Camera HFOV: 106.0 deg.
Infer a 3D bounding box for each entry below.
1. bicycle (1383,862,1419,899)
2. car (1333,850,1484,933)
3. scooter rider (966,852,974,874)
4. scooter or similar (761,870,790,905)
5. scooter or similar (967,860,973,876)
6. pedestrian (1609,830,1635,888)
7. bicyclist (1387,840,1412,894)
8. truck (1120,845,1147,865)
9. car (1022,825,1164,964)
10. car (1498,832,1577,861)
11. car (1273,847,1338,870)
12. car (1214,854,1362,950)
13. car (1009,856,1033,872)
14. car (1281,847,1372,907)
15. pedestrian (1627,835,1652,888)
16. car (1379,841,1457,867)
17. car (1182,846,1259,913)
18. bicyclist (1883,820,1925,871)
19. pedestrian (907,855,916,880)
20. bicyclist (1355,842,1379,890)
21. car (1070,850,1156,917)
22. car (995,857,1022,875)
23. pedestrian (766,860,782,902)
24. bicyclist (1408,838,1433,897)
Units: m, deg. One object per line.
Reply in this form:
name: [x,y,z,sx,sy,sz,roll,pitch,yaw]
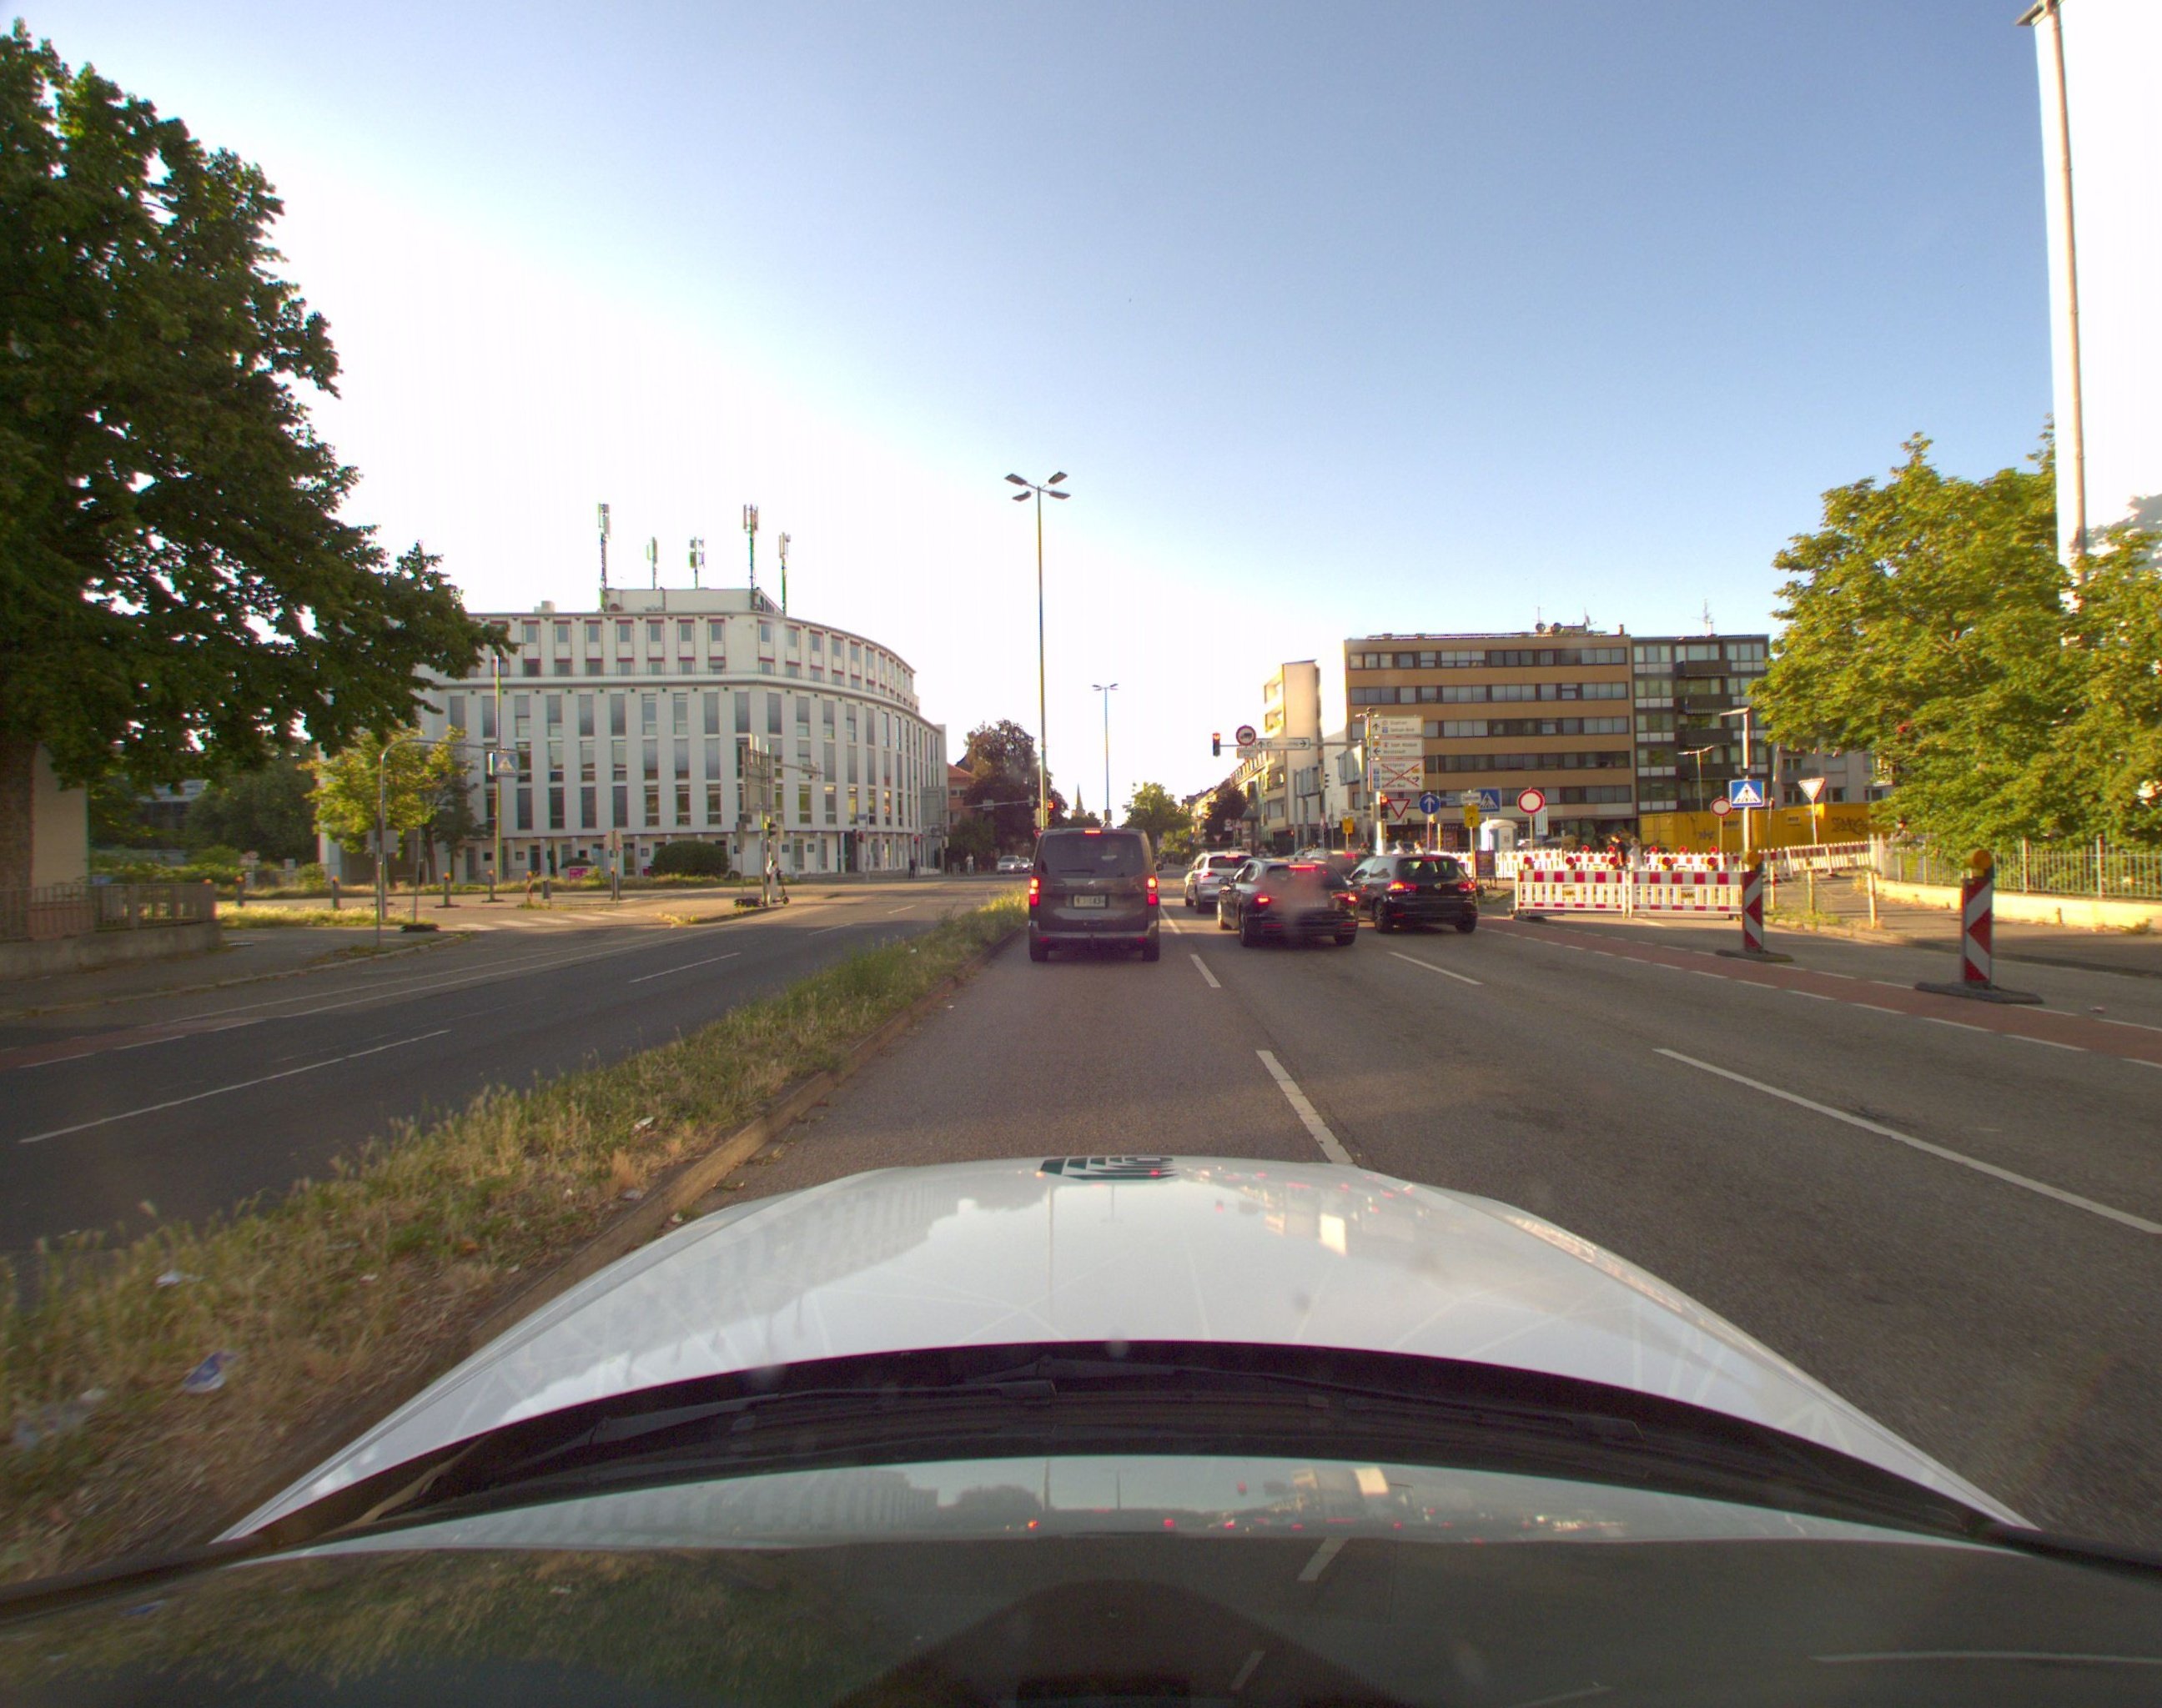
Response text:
bicycle: [9.255,0.753,23.593,0.335,1.008,1.857,-2,0,2]
car: [6.317,0.649,16.146,1.627,1.449,3.747,0,0,2]
scooter rider: [-8.876,0.720,65.357,0.479,1.697,0.636,-2,0,2]
scooter or similar: [-11.047,1.196,29.464,0.893,1.234,0.370,-2,0,-9]
scooter or similar: [-8.899,1.110,65.266,0.284,1.188,1.170,-2,0,2]
pedestrian: [17.354,0.151,26.123,0.573,1.834,0.482,-1,0,-33]
bicyclist: [9.255,0.368,23.677,0.439,1.525,0.726,-2,0,2]
truck: [5.729,0.113,89.703,2.125,2.086,4.621,-2,0,-6]
car: [0.250,0.538,13.176,1.899,1.863,4.529,0,0,2]
car: [31.053,-0.489,55.504,4.199,1.817,2.001,-2,0,2]
car: [15.447,0.322,56.101,3.978,1.420,1.786,-2,0,-3]
car: [3.440,0.720,14.276,1.675,1.421,4.216,0,0,2]
car: [-5.490,0.885,75.087,1.849,1.420,4.000,-2,0,1]
car: [6.485,0.560,21.825,1.499,1.449,3.307,-2,0,2]
pedestrian: [18.112,0.233,26.402,0.606,1.671,0.449,-1,0,-38]
car: [21.700,-0.004,52.562,4.334,1.549,1.784,-2,0,-7]
car: [3.585,0.609,21.423,1.523,1.613,3.747,0,0,2]
bicyclist: [26.342,-0.282,26.065,0.812,1.589,0.617,0,1,-13]
pedestrian: [-12.107,0.951,58.178,0.626,1.722,0.669,-2,0,-12]
bicyclist: [9.340,0.393,26.613,0.511,1.525,0.726,-2,0,2]
car: [0.823,0.687,21.074,1.986,1.530,4.002,-2,0,2]
car: [-6.121,1.022,69.278,1.849,1.420,4.000,-2,0,1]
pedestrian: [-11.160,0.963,29.603,0.474,1.505,0.334,-2,0,-10]
bicyclist: [8.973,0.350,21.525,0.439,1.525,0.483,-2,0,2]
